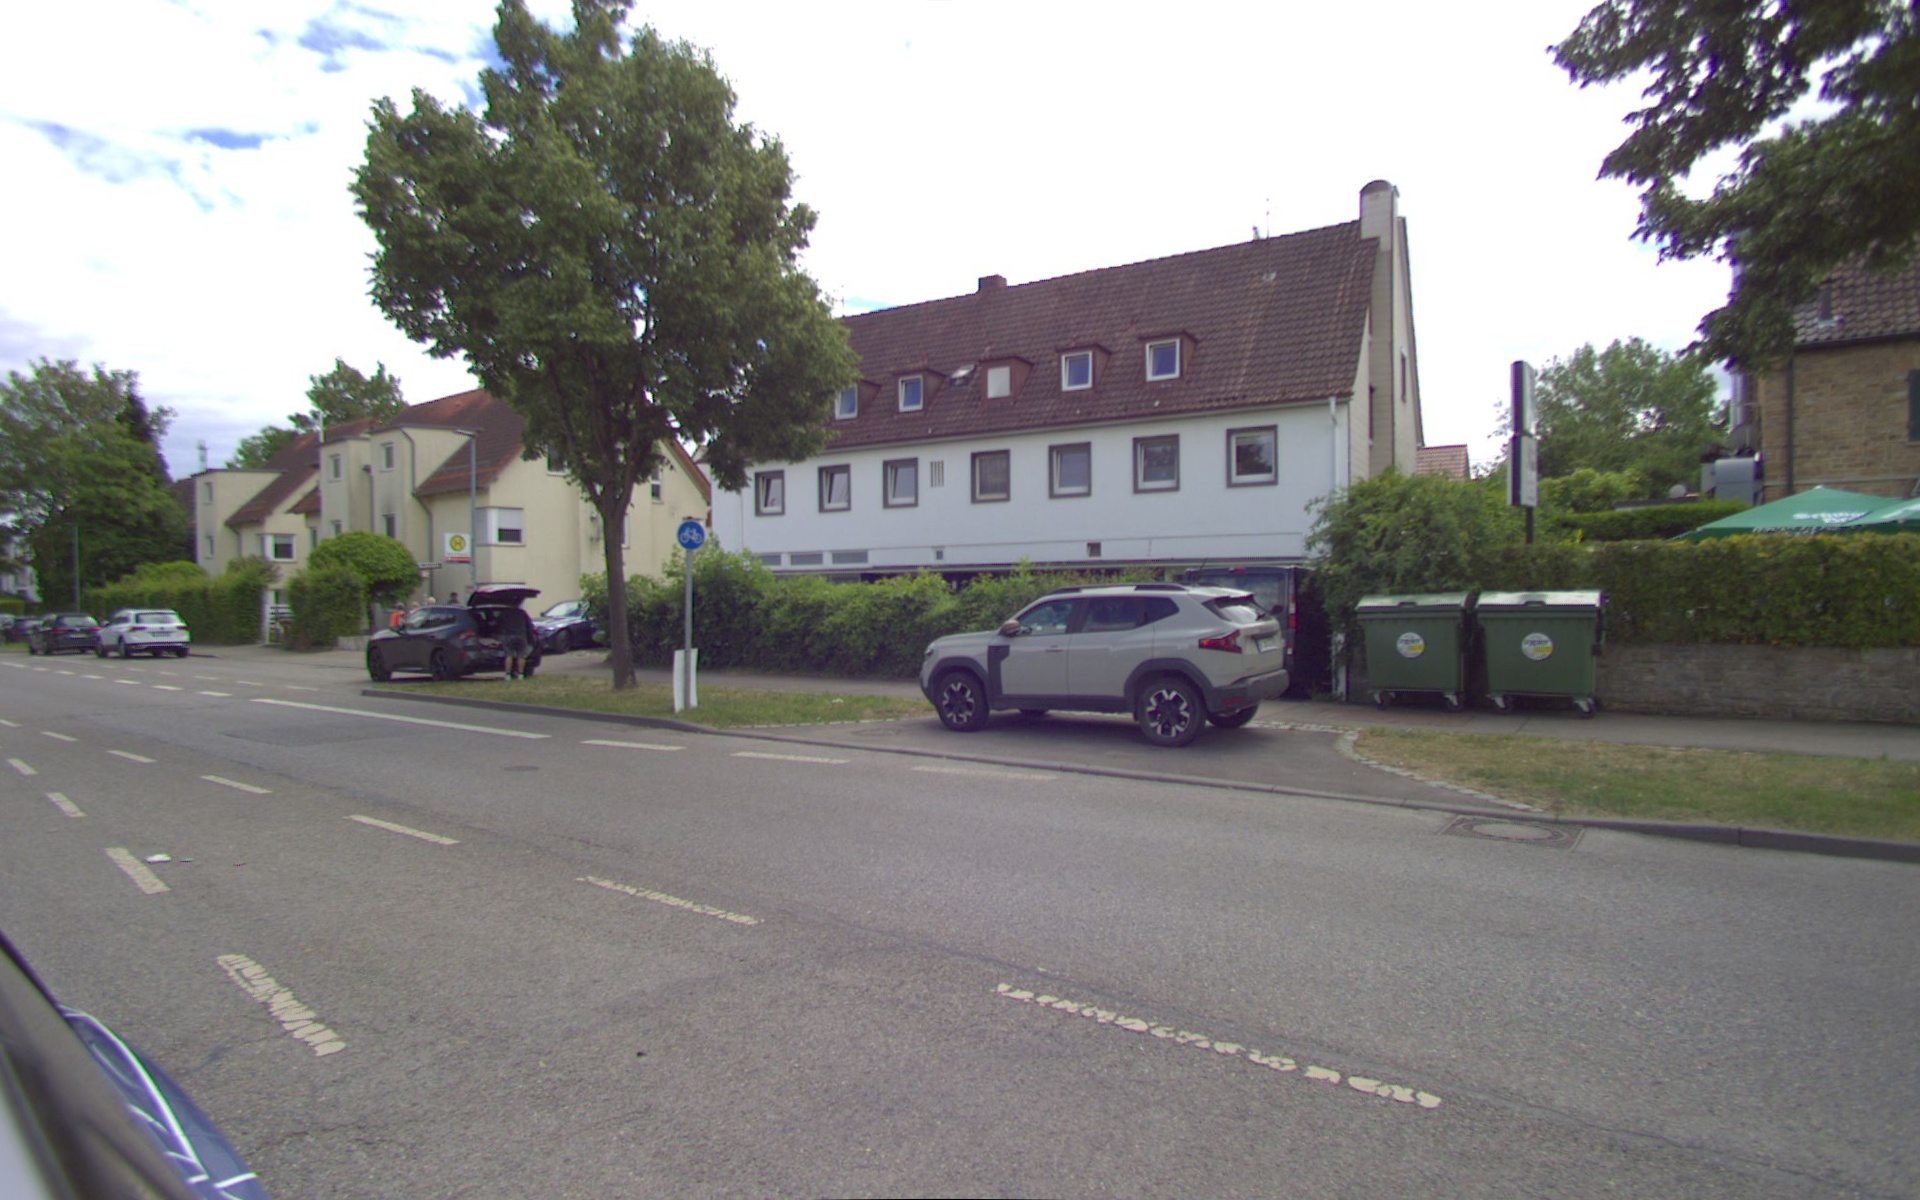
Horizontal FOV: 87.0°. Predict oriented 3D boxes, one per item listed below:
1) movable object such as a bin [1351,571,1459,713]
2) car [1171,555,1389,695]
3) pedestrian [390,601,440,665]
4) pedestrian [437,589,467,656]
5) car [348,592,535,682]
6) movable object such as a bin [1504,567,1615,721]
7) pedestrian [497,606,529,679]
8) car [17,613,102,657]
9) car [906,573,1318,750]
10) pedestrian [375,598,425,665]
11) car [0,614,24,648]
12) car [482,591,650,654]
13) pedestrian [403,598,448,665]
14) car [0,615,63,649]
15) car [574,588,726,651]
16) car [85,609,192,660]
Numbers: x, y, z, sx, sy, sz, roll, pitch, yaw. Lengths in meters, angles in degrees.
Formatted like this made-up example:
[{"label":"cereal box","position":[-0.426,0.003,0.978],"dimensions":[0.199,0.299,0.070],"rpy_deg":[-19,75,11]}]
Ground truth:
[{"label":"movable object such as a bin","position":[5.634,0.490,12.794],"dimensions":[0.996,1.663,1.195],"rpy_deg":[-1,2,36]},{"label":"car","position":[5.167,0.338,16.036],"dimensions":[1.998,1.906,3.948],"rpy_deg":[-1,0,38]},{"label":"pedestrian","position":[-15.000,0.901,27.851],"dimensions":[0.878,1.675,0.781],"rpy_deg":[-1,3,32]},{"label":"pedestrian","position":[-14.080,0.611,28.039],"dimensions":[0.671,1.820,0.499],"rpy_deg":[-1,0,39]},{"label":"car","position":[-11.215,0.745,21.769],"dimensions":[4.556,1.738,1.709],"rpy_deg":[-1,0,36]},{"label":"movable object such as a bin","position":[7.053,0.469,11.885],"dimensions":[0.996,1.663,1.195],"rpy_deg":[-1,2,36]},{"label":"pedestrian","position":[-9.051,0.855,20.493],"dimensions":[0.545,1.447,0.498],"rpy_deg":[0,-1,-20]},{"label":"car","position":[-34.464,1.296,38.714],"dimensions":[4.266,1.563,1.661],"rpy_deg":[-1,0,38]},{"label":"car","position":[1.621,0.591,11.549],"dimensions":[4.286,1.666,1.844],"rpy_deg":[-1,0,37]},{"label":"pedestrian","position":[-14.917,0.828,26.959],"dimensions":[0.752,1.675,0.781],"rpy_deg":[-1,4,32]},{"label":"car","position":[-48.270,1.530,50.546],"dimensions":[3.905,1.625,1.701],"rpy_deg":[-1,-1,39]},{"label":"car","position":[-11.281,0.588,29.337],"dimensions":[2.022,1.565,4.495],"rpy_deg":[-1,1,22]},{"label":"pedestrian","position":[-14.016,0.820,26.540],"dimensions":[0.591,1.675,0.780],"rpy_deg":[-1,3,37]},{"label":"car","position":[-43.831,1.460,47.226],"dimensions":[4.881,1.496,1.976],"rpy_deg":[-1,-1,36]},{"label":"car","position":[-8.860,0.521,29.202],"dimensions":[1.785,1.493,3.957],"rpy_deg":[-1,2,32]},{"label":"car","position":[-28.425,1.147,34.970],"dimensions":[4.577,1.646,1.804],"rpy_deg":[-1,-1,36]}]
